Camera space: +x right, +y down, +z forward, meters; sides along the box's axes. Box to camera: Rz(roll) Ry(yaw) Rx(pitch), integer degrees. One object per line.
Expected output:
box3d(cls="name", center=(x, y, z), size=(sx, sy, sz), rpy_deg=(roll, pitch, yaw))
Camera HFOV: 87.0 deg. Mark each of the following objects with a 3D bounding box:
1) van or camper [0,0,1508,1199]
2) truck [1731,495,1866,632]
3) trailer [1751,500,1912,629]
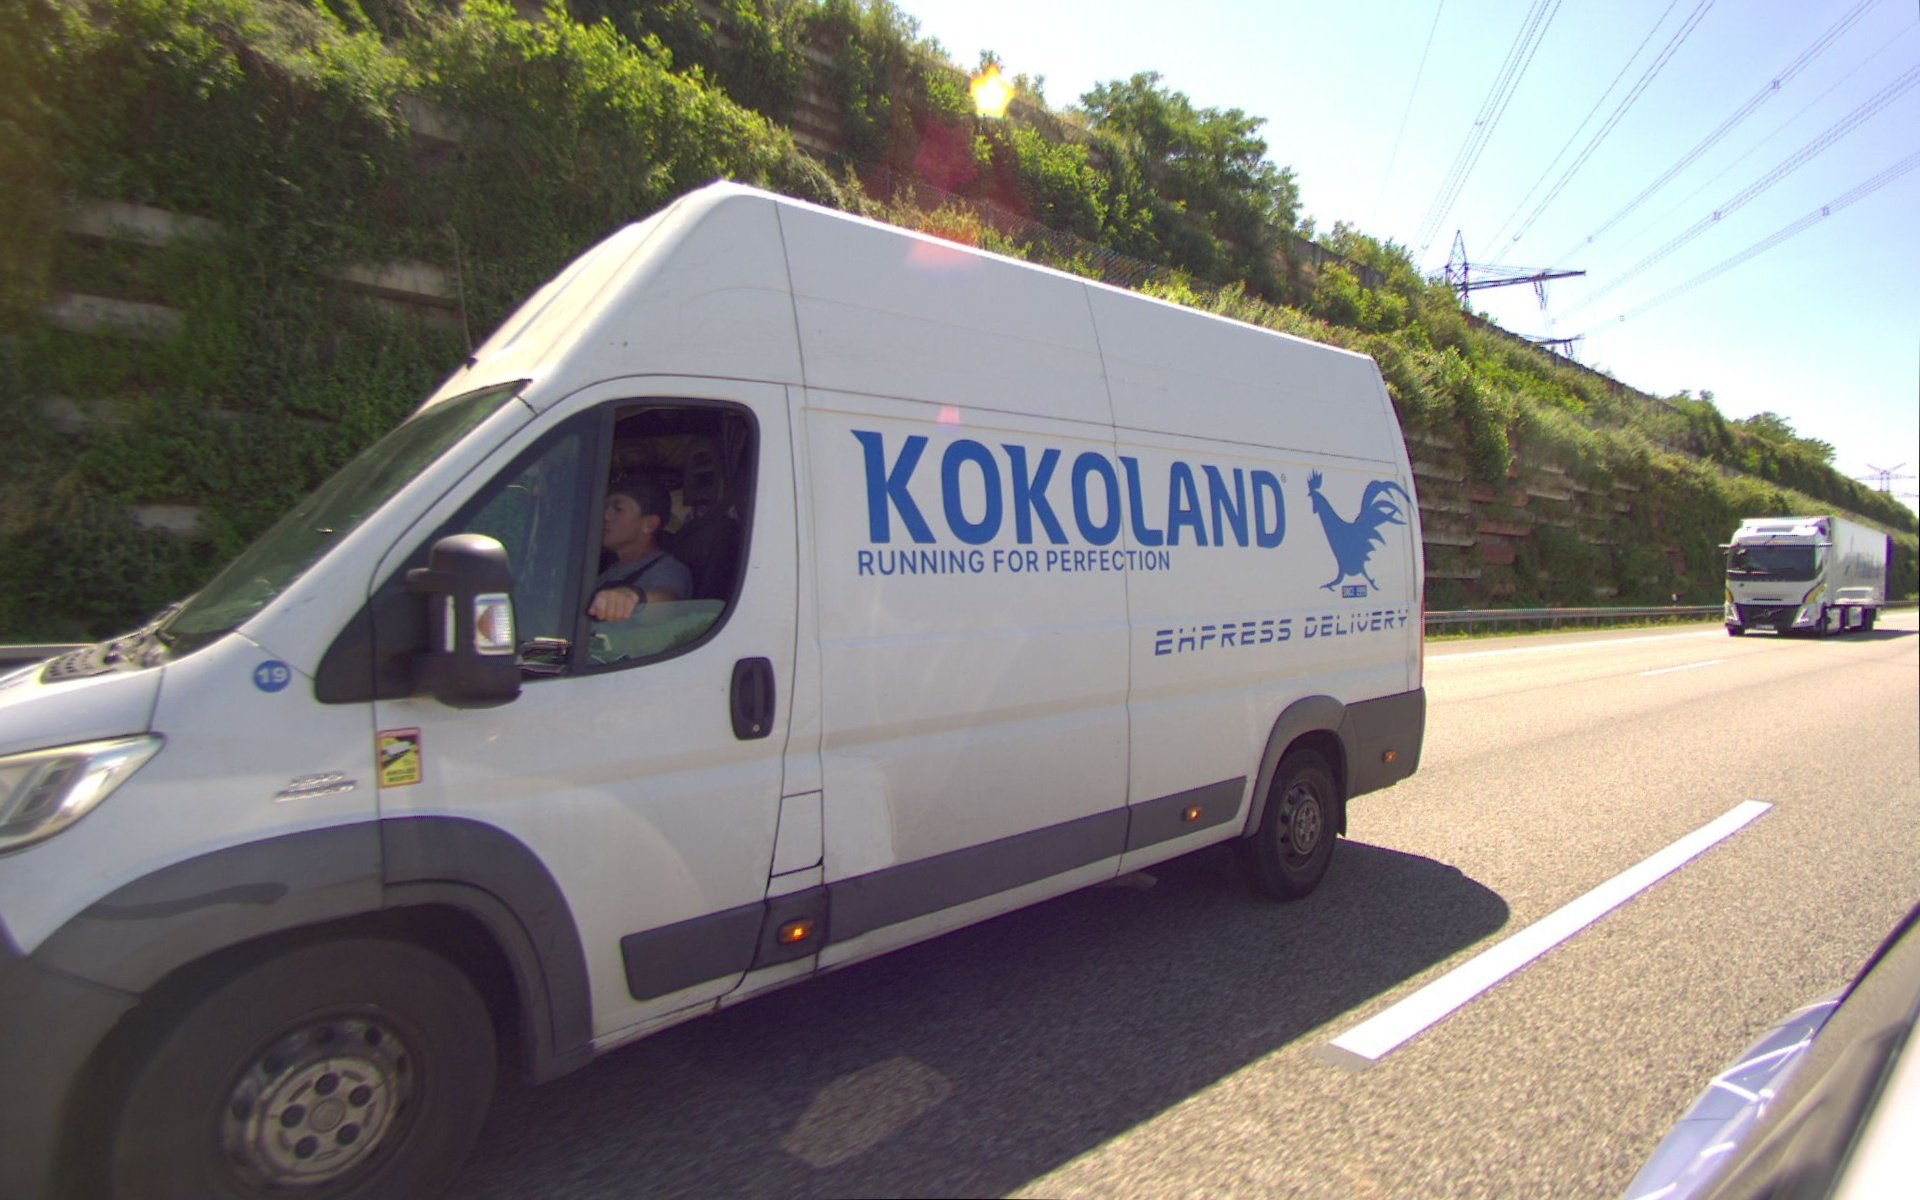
box3d(cls="van or camper", center=(0.101, -0.074, 4.674), size=(6.640, 2.803, 2.100), rpy_deg=(0, 1, -41))
box3d(cls="truck", center=(28.678, -1.219, 34.536), size=(6.147, 4.272, 2.512), rpy_deg=(-1, 2, -41))
box3d(cls="trailer", center=(34.774, -1.268, 39.962), size=(16.732, 4.264, 2.519), rpy_deg=(0, 2, -42))
